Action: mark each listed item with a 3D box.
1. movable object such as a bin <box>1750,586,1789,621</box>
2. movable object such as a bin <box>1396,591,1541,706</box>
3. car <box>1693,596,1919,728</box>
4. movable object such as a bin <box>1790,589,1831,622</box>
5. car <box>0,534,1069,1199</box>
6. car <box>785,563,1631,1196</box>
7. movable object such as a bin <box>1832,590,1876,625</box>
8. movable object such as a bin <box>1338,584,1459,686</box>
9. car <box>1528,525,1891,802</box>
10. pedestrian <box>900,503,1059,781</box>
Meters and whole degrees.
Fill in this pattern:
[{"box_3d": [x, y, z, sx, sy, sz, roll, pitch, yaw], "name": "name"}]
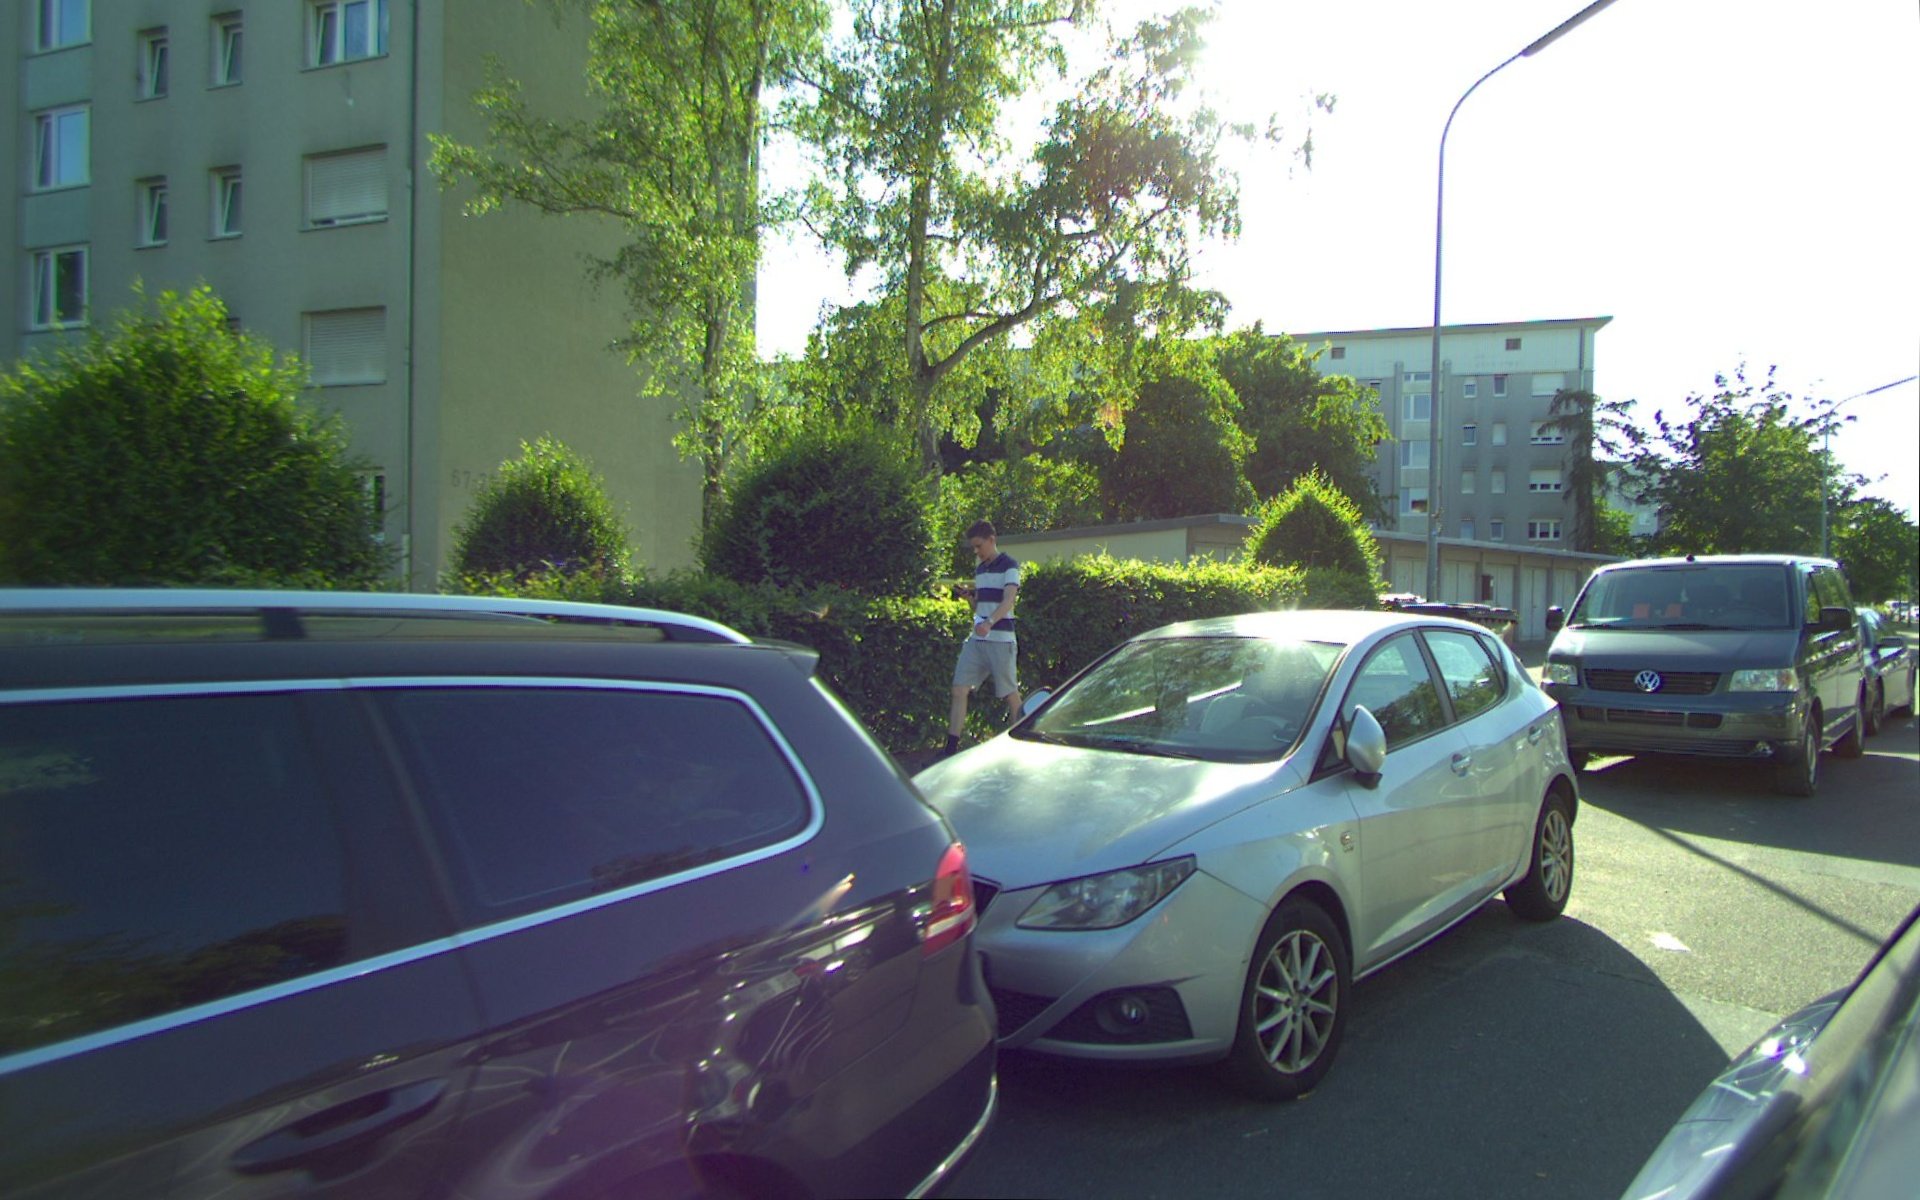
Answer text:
[{"box_3d": [36.999, 0.148, 46.250, 1.324, 1.556, 1.013, 1, 0, 43], "name": "movable object such as a bin"}, {"box_3d": [6.554, 0.589, 13.064, 1.359, 1.325, 1.031, 1, 4, -31], "name": "movable object such as a bin"}, {"box_3d": [11.366, 0.675, 13.267, 4.553, 1.436, 1.804, 0, 0, -40], "name": "car"}, {"box_3d": [37.977, 0.231, 45.187, 1.324, 1.449, 1.013, 1, 0, 43], "name": "movable object such as a bin"}, {"box_3d": [-1.968, 0.705, 1.118, 4.427, 1.509, 1.733, 0, -1, -44], "name": "car"}, {"box_3d": [1.373, 0.662, 4.369, 3.967, 1.509, 1.625, 0, 0, -42], "name": "car"}, {"box_3d": [38.982, 0.312, 44.134, 1.325, 1.445, 1.053, 5, 3, 43], "name": "movable object such as a bin"}, {"box_3d": [6.382, 0.472, 14.747, 1.112, 1.382, 1.227, 0, 1, -38], "name": "movable object such as a bin"}, {"box_3d": [7.134, 0.442, 9.421, 4.624, 1.959, 1.855, 0, 0, -42], "name": "car"}, {"box_3d": [0.142, 0.267, 7.490, 0.857, 1.911, 0.705, 0, 3, -40], "name": "pedestrian"}]
